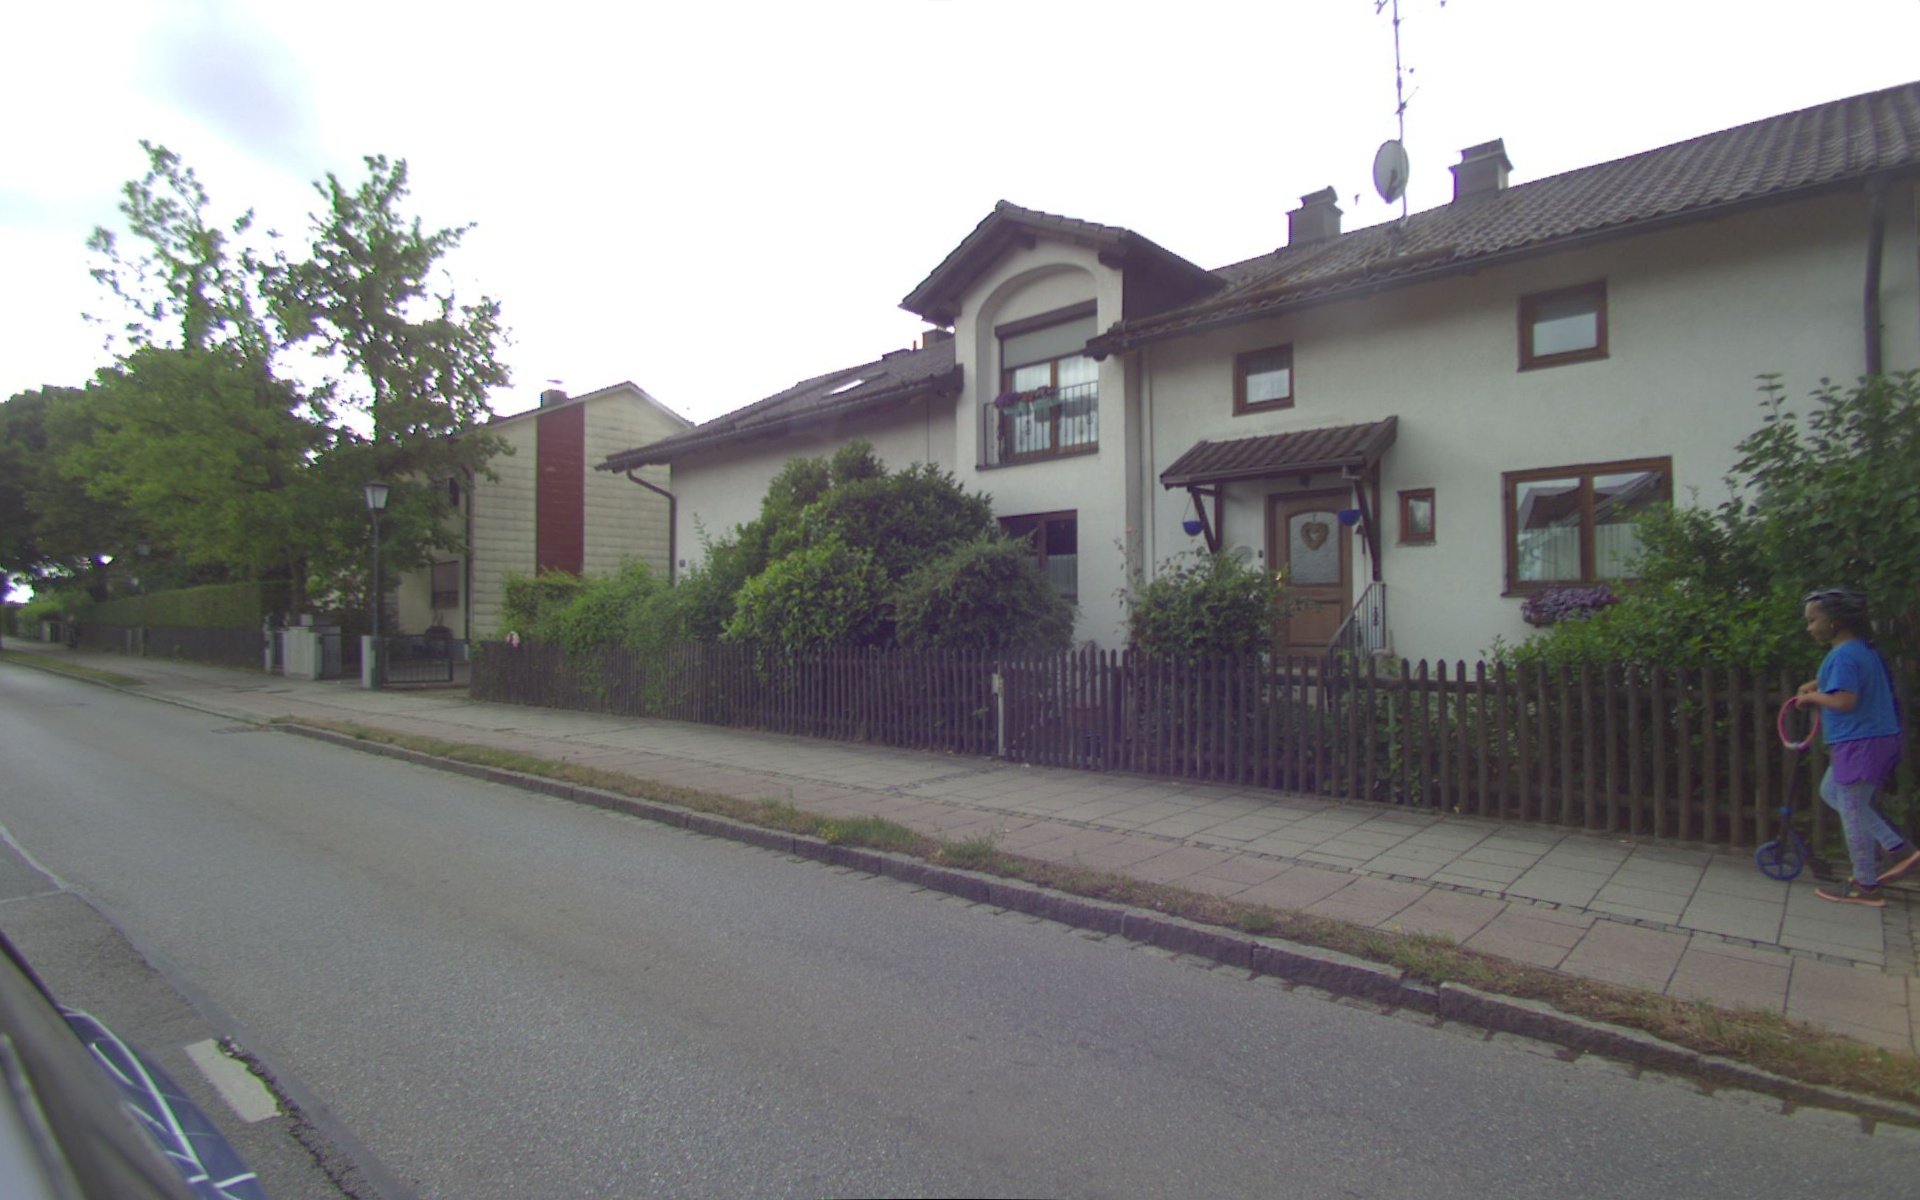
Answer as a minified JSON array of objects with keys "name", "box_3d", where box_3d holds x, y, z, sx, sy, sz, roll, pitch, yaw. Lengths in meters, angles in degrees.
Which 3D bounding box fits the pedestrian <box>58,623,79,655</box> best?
[{"name":"pedestrian","box_3d":[-39.923,1.743,45.341,0.563,1.448,0.622,-1,-2,41]}]

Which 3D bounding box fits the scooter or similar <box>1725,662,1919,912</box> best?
[{"name":"scooter or similar","box_3d":[4.327,0.834,4.692,1.178,1.045,0.654,-1,-2,43]}]

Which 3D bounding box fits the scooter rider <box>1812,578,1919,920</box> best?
[{"name":"scooter rider","box_3d":[4.344,0.647,4.674,0.580,1.484,0.655,-2,-1,42]}]
